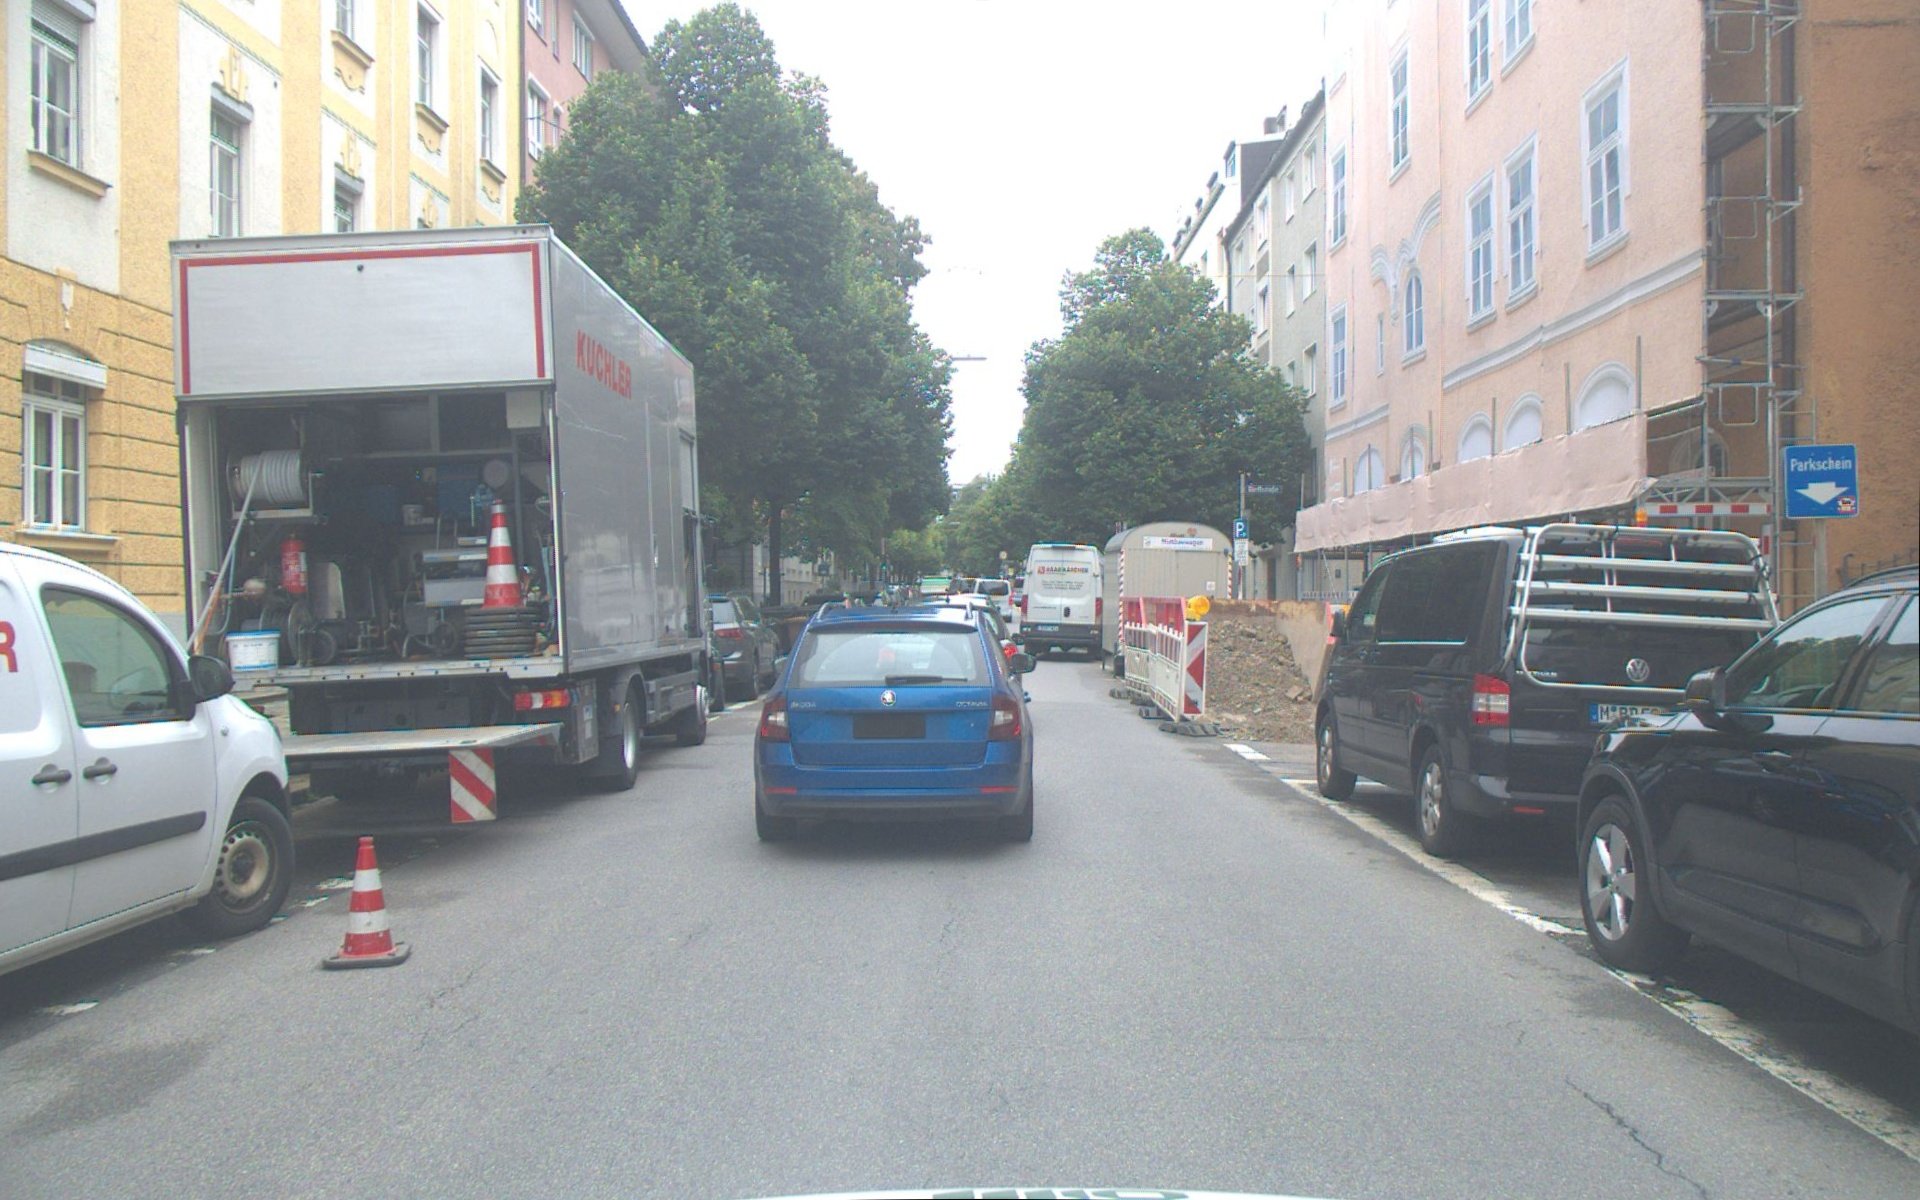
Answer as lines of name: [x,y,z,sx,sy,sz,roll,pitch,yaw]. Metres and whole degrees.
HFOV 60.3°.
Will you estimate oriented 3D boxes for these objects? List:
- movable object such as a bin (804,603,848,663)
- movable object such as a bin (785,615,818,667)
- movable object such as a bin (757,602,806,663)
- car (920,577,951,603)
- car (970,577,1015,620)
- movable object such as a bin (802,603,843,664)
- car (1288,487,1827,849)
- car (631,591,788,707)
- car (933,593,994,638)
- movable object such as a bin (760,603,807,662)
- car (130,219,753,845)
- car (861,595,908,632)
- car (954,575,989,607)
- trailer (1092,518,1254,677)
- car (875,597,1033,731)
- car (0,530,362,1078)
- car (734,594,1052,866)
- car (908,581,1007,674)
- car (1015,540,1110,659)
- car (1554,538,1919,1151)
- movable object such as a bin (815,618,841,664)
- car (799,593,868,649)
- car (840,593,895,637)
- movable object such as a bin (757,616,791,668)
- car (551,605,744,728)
movable object such as a bin: [-3.306,0.803,40.803,1.000,1.400,1.103,-2,0,-4]
movable object such as a bin: [-3.707,0.950,38.788,0.697,1.168,0.636,-2,0,-3]
movable object such as a bin: [-4.277,0.767,39.619,1.060,1.400,1.083,-2,0,-4]
car: [-1.642,-0.678,109.207,1.967,1.682,4.346,1,1,-2]
car: [1.446,-0.089,75.284,1.830,1.902,4.346,1,1,-2]
movable object such as a bin: [-3.301,0.792,39.704,0.900,1.400,1.079,-2,0,-4]
car: [3.788,0.473,11.650,2.039,1.955,5.140,1,-2,1]
car: [-3.900,0.704,26.392,1.748,1.656,4.186,-1,0,1]
car: [0.073,0.493,54.760,1.830,1.371,4.345,1,1,-2]
movable object such as a bin: [-4.341,0.789,40.719,1.036,1.400,1.095,-2,0,-4]
car: [-3.794,-0.425,14.726,2.755,3.884,8.723,-1,0,0]
car: [-3.192,0.569,70.299,1.775,1.504,4.000,0,0,0]
car: [0.637,-0.501,89.674,1.829,1.682,4.348,1,1,1]
trailer: [4.183,-0.023,33.819,2.451,2.889,6.901,1,0,0]
car: [-0.036,0.697,19.747,1.705,1.446,3.664,0,0,1]
car: [-4.031,0.704,6.377,1.726,1.810,4.327,-2,0,1]
car: [-0.327,0.724,11.351,1.752,1.486,4.315,-1,0,1]
car: [-0.048,0.493,33.149,1.829,1.726,4.347,1,1,0]
car: [2.617,-0.001,40.912,2.068,2.710,5.503,1,0,6]
car: [3.546,0.718,5.415,1.659,1.706,4.408,2,0,1]
movable object such as a bin: [-3.101,0.966,38.851,0.536,1.038,0.636,-2,0,-3]
car: [-3.592,0.569,47.524,1.775,1.504,3.999,0,0,-2]
car: [-3.225,0.505,58.257,1.775,1.504,3.999,0,0,-2]
movable object such as a bin: [-4.361,0.979,38.731,0.706,1.158,0.658,-2,0,-3]
car: [-3.974,0.802,21.583,1.664,1.434,3.709,-1,0,2]
